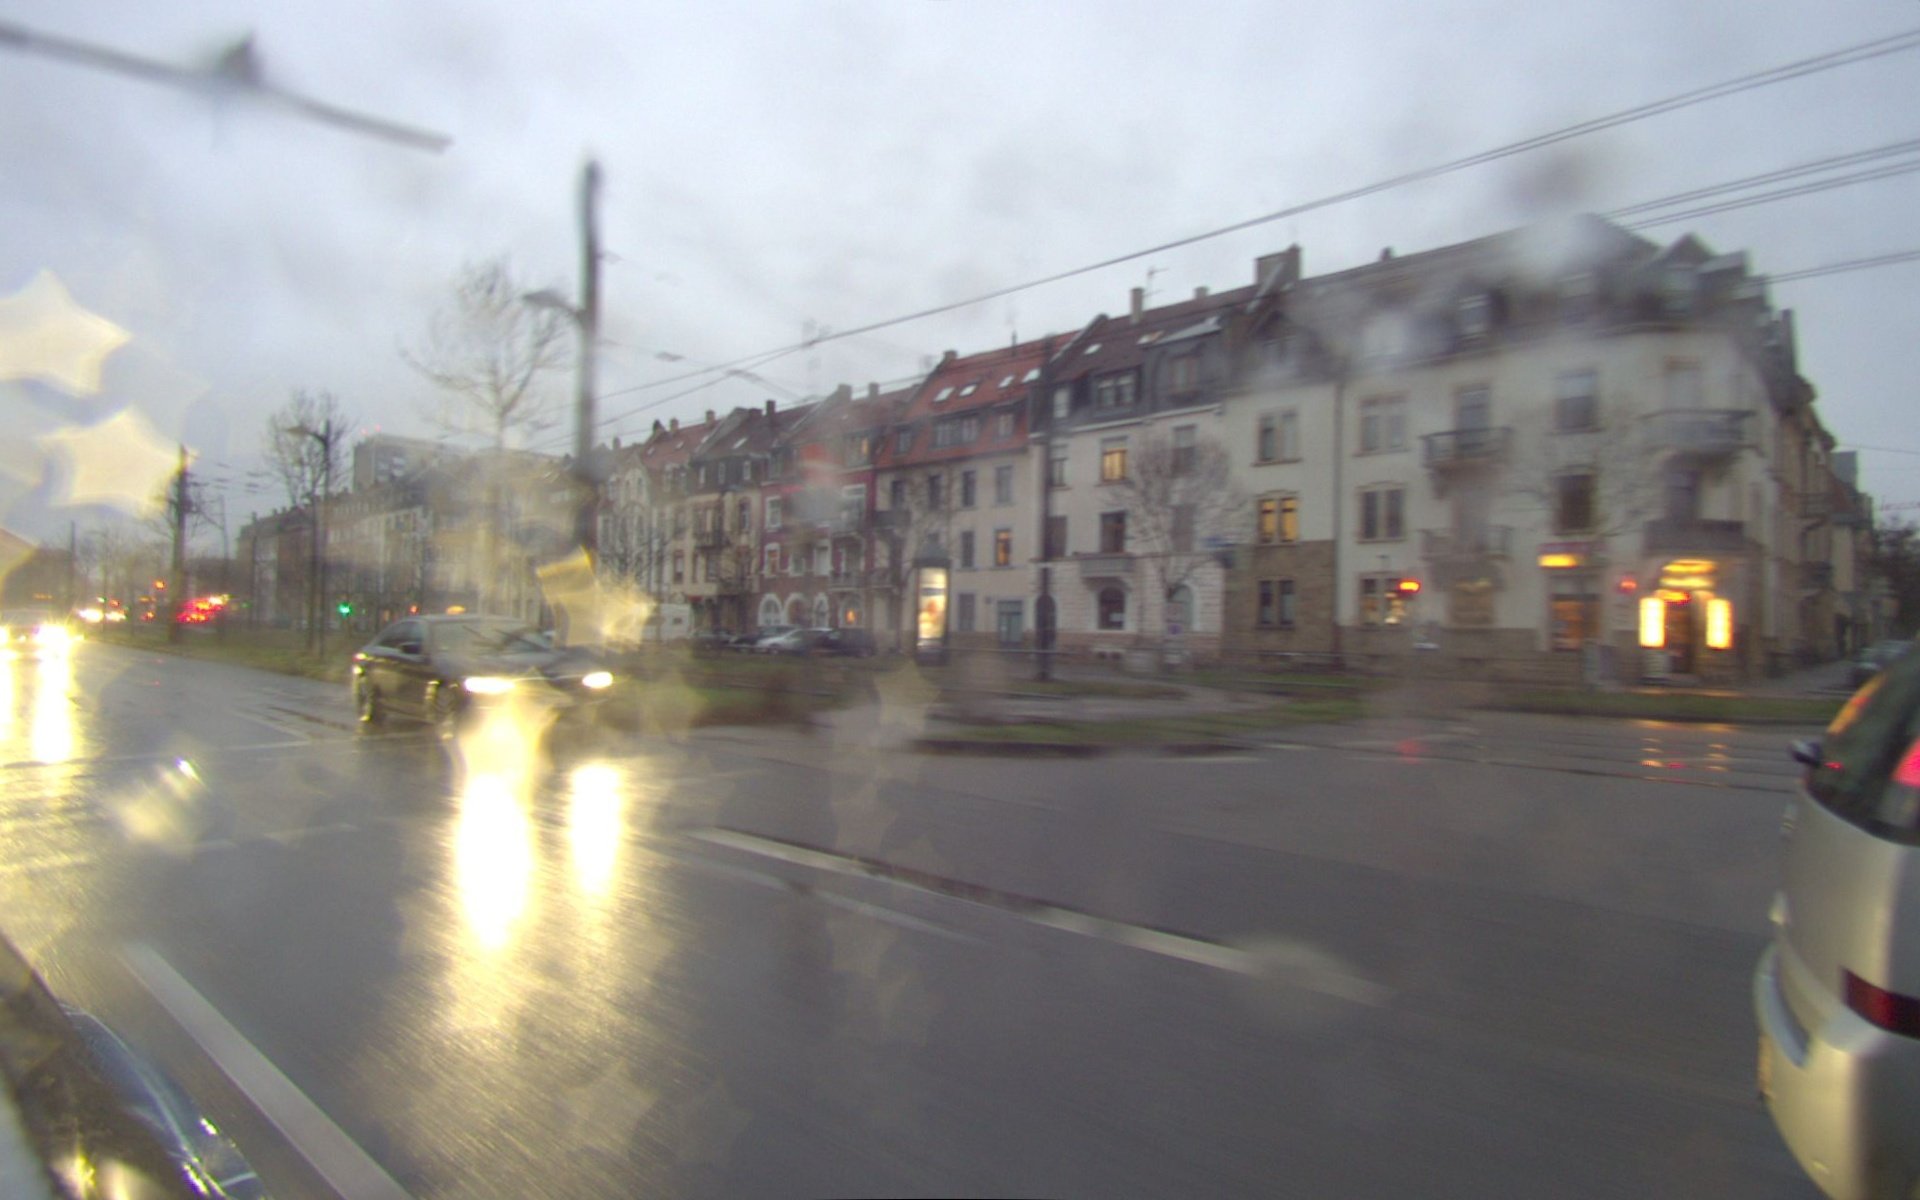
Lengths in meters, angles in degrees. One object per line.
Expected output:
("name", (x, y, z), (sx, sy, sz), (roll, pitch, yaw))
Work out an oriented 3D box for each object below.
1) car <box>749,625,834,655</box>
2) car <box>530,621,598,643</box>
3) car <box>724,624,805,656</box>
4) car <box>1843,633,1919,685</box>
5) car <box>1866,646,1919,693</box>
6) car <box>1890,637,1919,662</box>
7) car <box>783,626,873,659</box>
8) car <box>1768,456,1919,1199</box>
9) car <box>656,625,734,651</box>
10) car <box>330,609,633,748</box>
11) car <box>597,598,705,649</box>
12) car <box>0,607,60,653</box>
("car", (-8.133, 1.923, 48.936), (3.937, 1.342, 2.003), (2, -2, -8))
("car", (-26.451, 2.148, 67.742), (3.935, 1.342, 2.004), (2, -2, -10))
("car", (-9.949, 2.024, 51.510), (3.934, 1.497, 2.004), (2, -2, -11))
("car", (28.939, 1.816, 31.666), (1.795, 1.497, 3.942), (-1, -2, 44))
("car", (32.697, 2.374, 35.073), (1.795, 1.497, 3.942), (-1, -2, 44))
("car", (58.270, 3.029, 62.045), (1.795, 1.497, 3.942), (-1, -2, 44))
("car", (-6.020, 1.924, 46.051), (3.937, 1.342, 2.003), (2, -2, -8))
("car", (3.567, 0.574, 1.201), (4.049, 1.612, 1.791), (0, -1, 39))
("car", (-14.656, 2.093, 56.128), (3.937, 1.342, 2.003), (2, -2, -8))
("car", (-6.213, 0.841, 12.844), (4.825, 1.441, 1.789), (0, -1, 43))
("car", (-18.351, 1.402, 60.376), (5.779, 2.819, 2.002), (1, -2, -3))
("car", (-32.313, 0.997, 34.794), (1.788, 1.508, 4.056), (1, -1, -45))
